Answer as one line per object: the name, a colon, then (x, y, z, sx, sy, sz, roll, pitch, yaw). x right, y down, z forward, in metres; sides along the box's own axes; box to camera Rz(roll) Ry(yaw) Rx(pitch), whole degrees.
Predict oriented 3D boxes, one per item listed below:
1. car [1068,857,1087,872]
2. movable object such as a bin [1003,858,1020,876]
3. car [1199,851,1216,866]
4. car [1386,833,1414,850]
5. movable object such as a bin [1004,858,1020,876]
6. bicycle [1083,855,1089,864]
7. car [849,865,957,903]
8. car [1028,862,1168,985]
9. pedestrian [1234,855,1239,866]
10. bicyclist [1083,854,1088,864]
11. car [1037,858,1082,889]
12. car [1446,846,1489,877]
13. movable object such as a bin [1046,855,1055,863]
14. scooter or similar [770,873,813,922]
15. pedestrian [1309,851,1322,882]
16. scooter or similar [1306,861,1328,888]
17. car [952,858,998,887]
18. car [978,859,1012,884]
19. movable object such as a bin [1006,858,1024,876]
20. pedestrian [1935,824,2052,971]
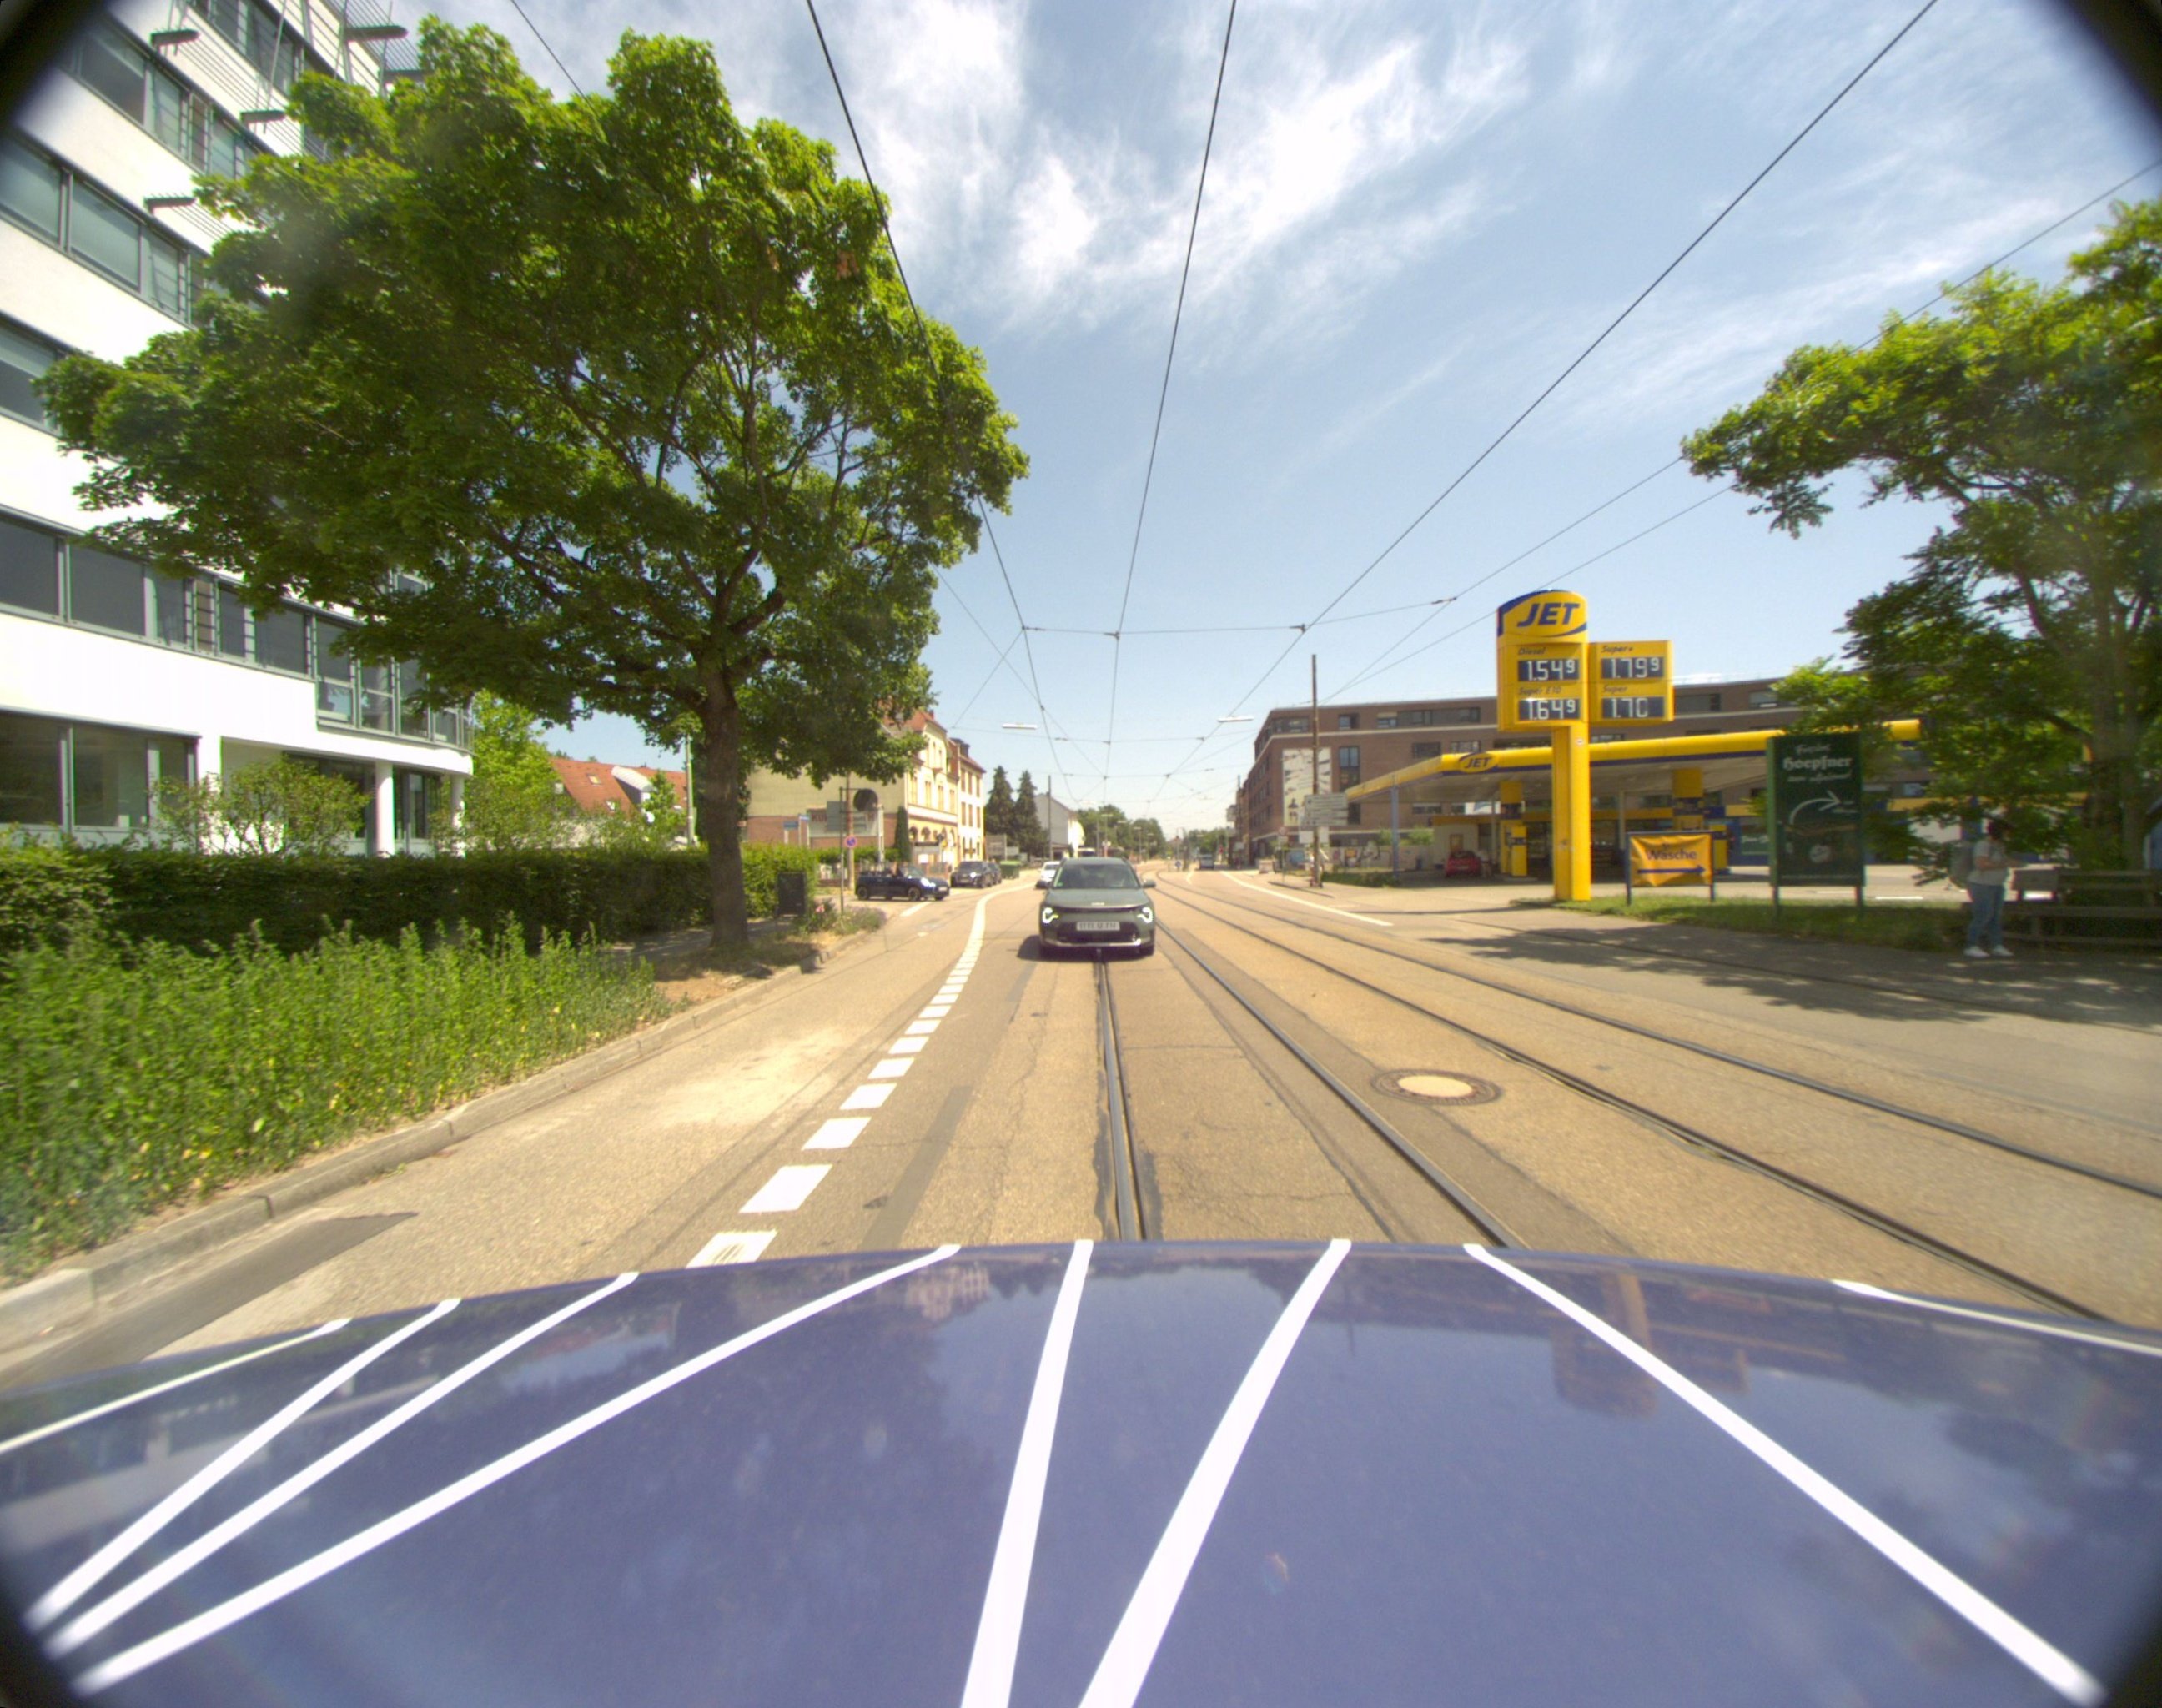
car: (-0.352, 1.145, 85.310, 1.748, 1.546, 4.488, -3, 0, 3)
movable object such as a bin: (-5.704, 1.081, 62.129, 1.327, 1.446, 1.057, 1, 0, -2)
car: (16.213, 0.563, 97.356, 1.997, 1.789, 4.555, -3, 1, 9)
car: (29.580, -1.107, 70.506, 1.734, 1.459, 4.004, -2, 0, 13)
movable object such as a bin: (-5.763, 1.095, 63.223, 1.250, 1.446, 1.057, 1, 0, -2)
bicycle: (1.015, 1.103, 155.332, 0.799, 1.889, 1.961, 2, 0, 16)
car: (-6.994, 1.133, 29.852, 3.917, 1.364, 1.706, -1, 1, 25)
car: (0.201, 0.934, 12.191, 1.827, 1.546, 4.487, 0, 0, -1)
pedestrian: (23.044, 0.920, 112.546, 0.604, 1.586, 0.715, -1, 0, 6)
bicyclist: (0.988, 1.045, 155.228, 0.790, 1.863, 0.888, 2, 0, 16)
car: (-1.114, 1.016, 41.546, 1.748, 1.546, 4.489, -3, 0, 7)
car: (20.767, 0.398, 40.955, 1.827, 1.495, 4.206, -3, -2, 24)
movable object such as a bin: (-5.427, 0.898, 133.754, 1.389, 1.472, 1.152, -1, 0, 9)
scooter or similar: (-7.635, 1.146, 20.081, 0.326, 1.215, 1.153, -2, 0, 22)
pedestrian: (12.835, 0.678, 41.573, 0.626, 1.681, 0.723, -1, 0, 13)
scooter or similar: (11.031, 0.949, 35.589, 0.520, 1.193, 1.376, -2, 0, -2)
car: (-6.415, 1.092, 46.709, 1.929, 1.683, 5.082, 1, 0, 2)
car: (-5.970, 1.191, 53.307, 1.776, 1.539, 4.467, 1, 1, 1)
movable object such as a bin: (-5.585, 1.092, 64.333, 1.396, 1.446, 1.139, 1, 0, -2)
pedestrian: (11.490, 0.528, 9.585, 0.581, 1.765, 0.699, -2, 0, -3)
